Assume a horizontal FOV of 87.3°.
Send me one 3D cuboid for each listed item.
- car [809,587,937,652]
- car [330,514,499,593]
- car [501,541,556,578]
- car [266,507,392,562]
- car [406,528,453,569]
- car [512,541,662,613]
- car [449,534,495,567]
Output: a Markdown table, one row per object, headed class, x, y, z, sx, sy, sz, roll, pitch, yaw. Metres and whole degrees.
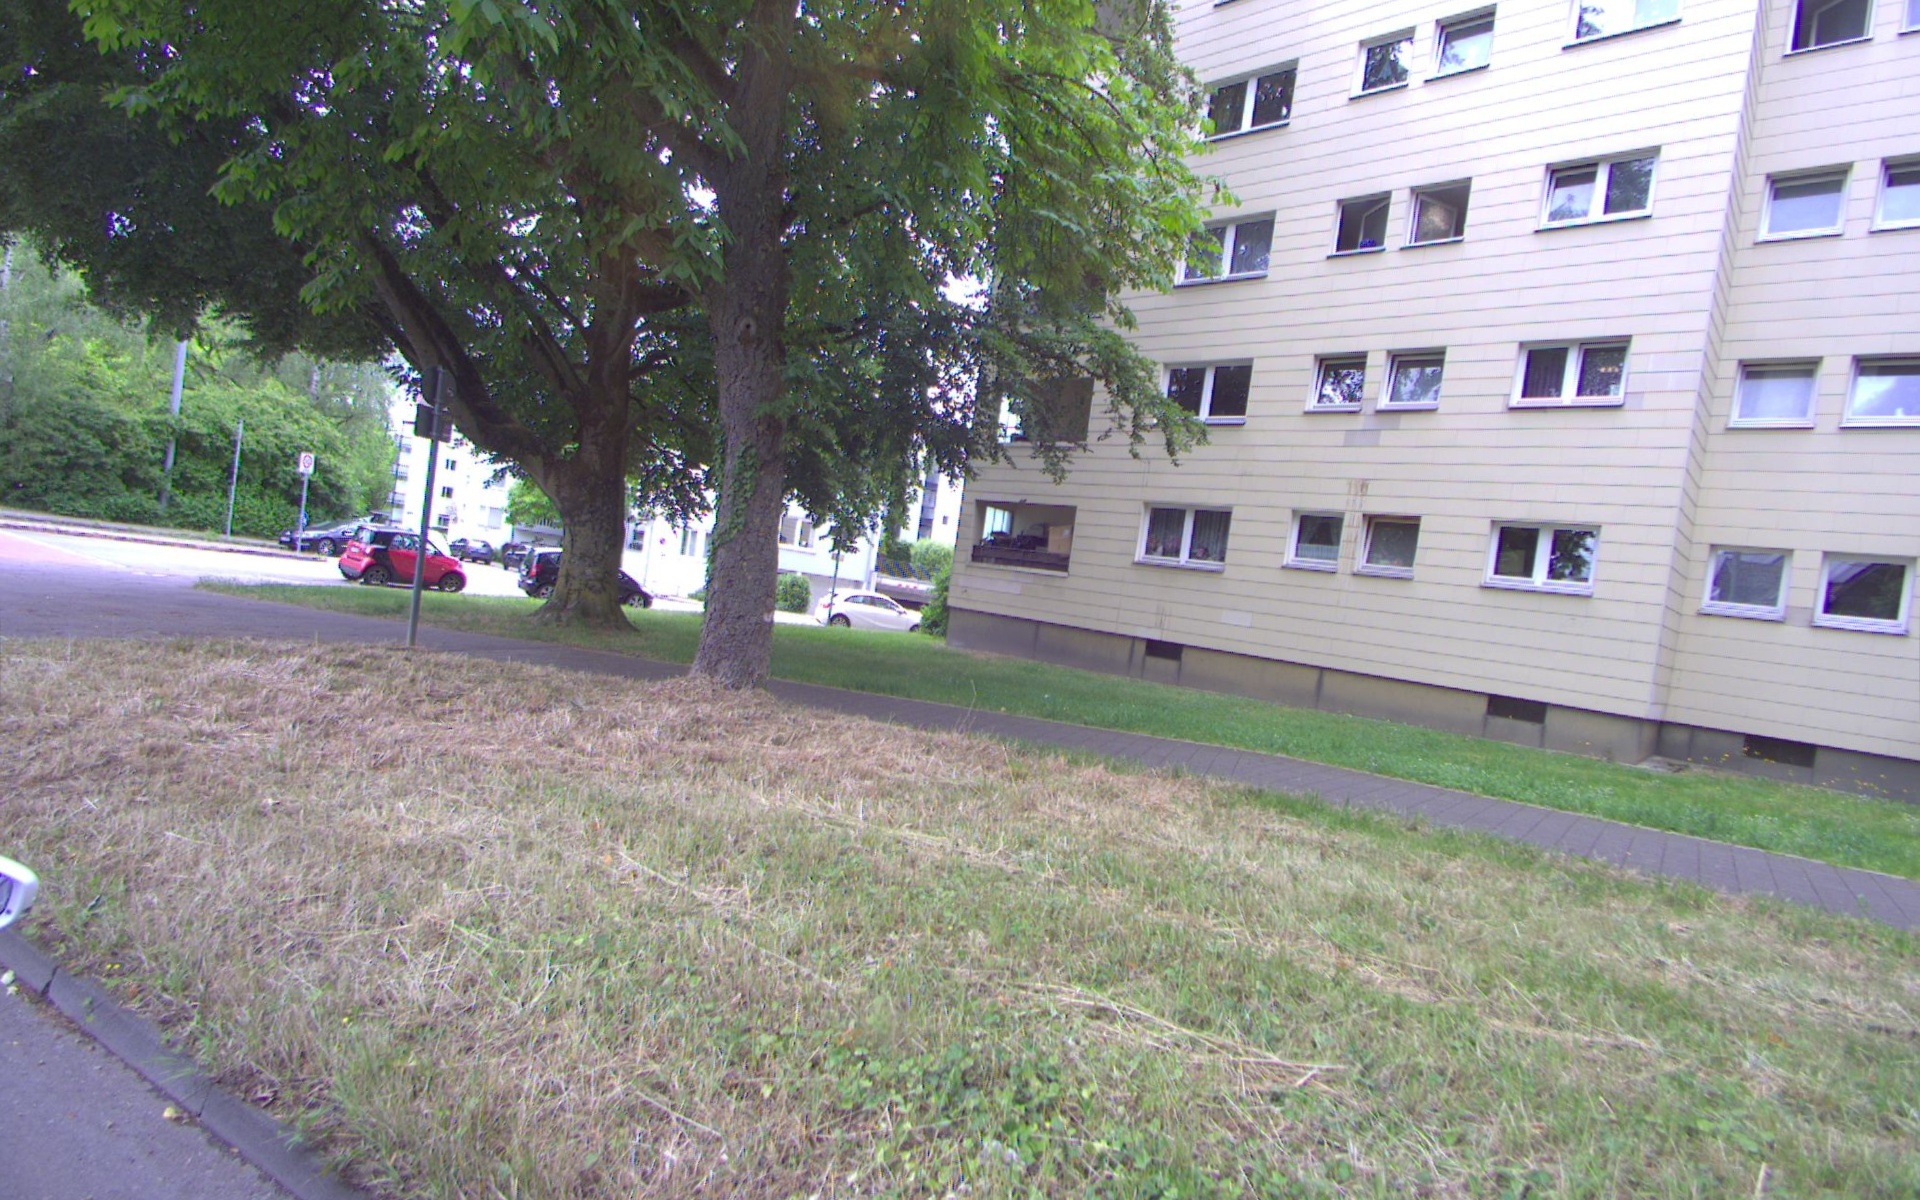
| class | x | y | z | sx | sy | sz | roll | pitch | yaw |
| --- | --- | --- | --- | --- | --- | --- | --- | --- | --- |
| car | -2.896 | 0.633 | 33.305 | 3.796 | 1.631 | 1.721 | 7 | 1 | -18 |
| car | -14.539 | -1.208 | 26.942 | 1.702 | 1.631 | 3.516 | 8 | 1 | 37 |
| car | -23.198 | -2.197 | 54.066 | 1.713 | 1.631 | 3.813 | 6 | 1 | -38 |
| car | -23.413 | -2.405 | 37.426 | 1.702 | 1.549 | 3.515 | 8 | 1 | 38 |
| car | -24.888 | -2.442 | 47.178 | 1.709 | 1.631 | 3.823 | 6 | 1 | -30 |
| car | -11.069 | -0.674 | 29.917 | 3.814 | 1.631 | 1.713 | 7 | 1 | -33 |
| car | -30.123 | -3.072 | 62.019 | 1.713 | 1.631 | 3.813 | 6 | 1 | -38 |
